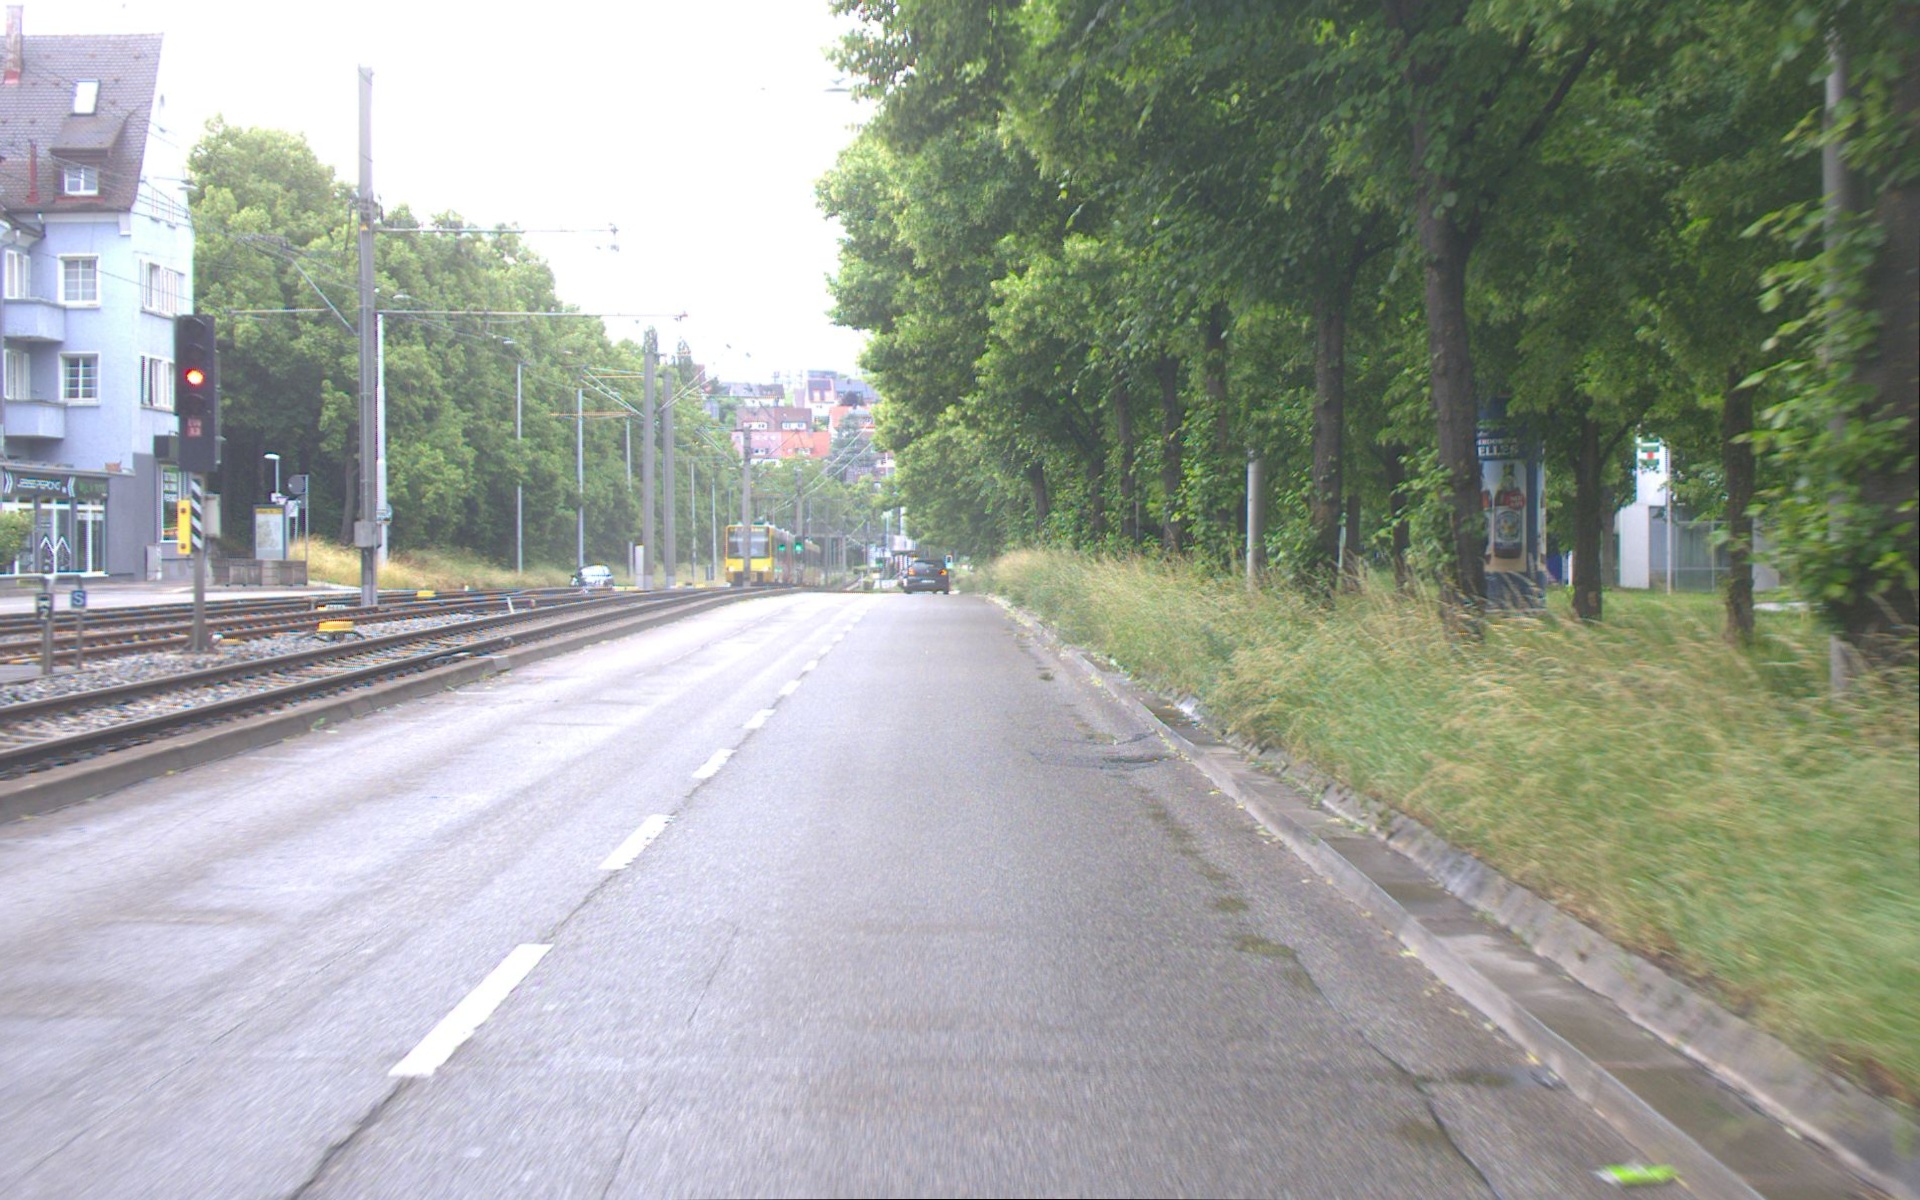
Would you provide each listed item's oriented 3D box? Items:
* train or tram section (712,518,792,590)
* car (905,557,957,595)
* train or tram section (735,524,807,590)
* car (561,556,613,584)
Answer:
[{"bbox_3d":[-11.362,-2.452,189.106,3.214,3.783,14.789,0,0,1],"label":"train or tram section"},{"bbox_3d":[-1.132,-0.957,134.908,1.982,1.436,4.474,0,1,0],"label":"car"},{"bbox_3d":[-11.128,-2.509,203.918,3.214,3.783,14.789,0,0,1],"label":"train or tram section"},{"bbox_3d":[-18.007,-1.450,166.034,1.902,1.320,4.826,0,0,1],"label":"car"}]
